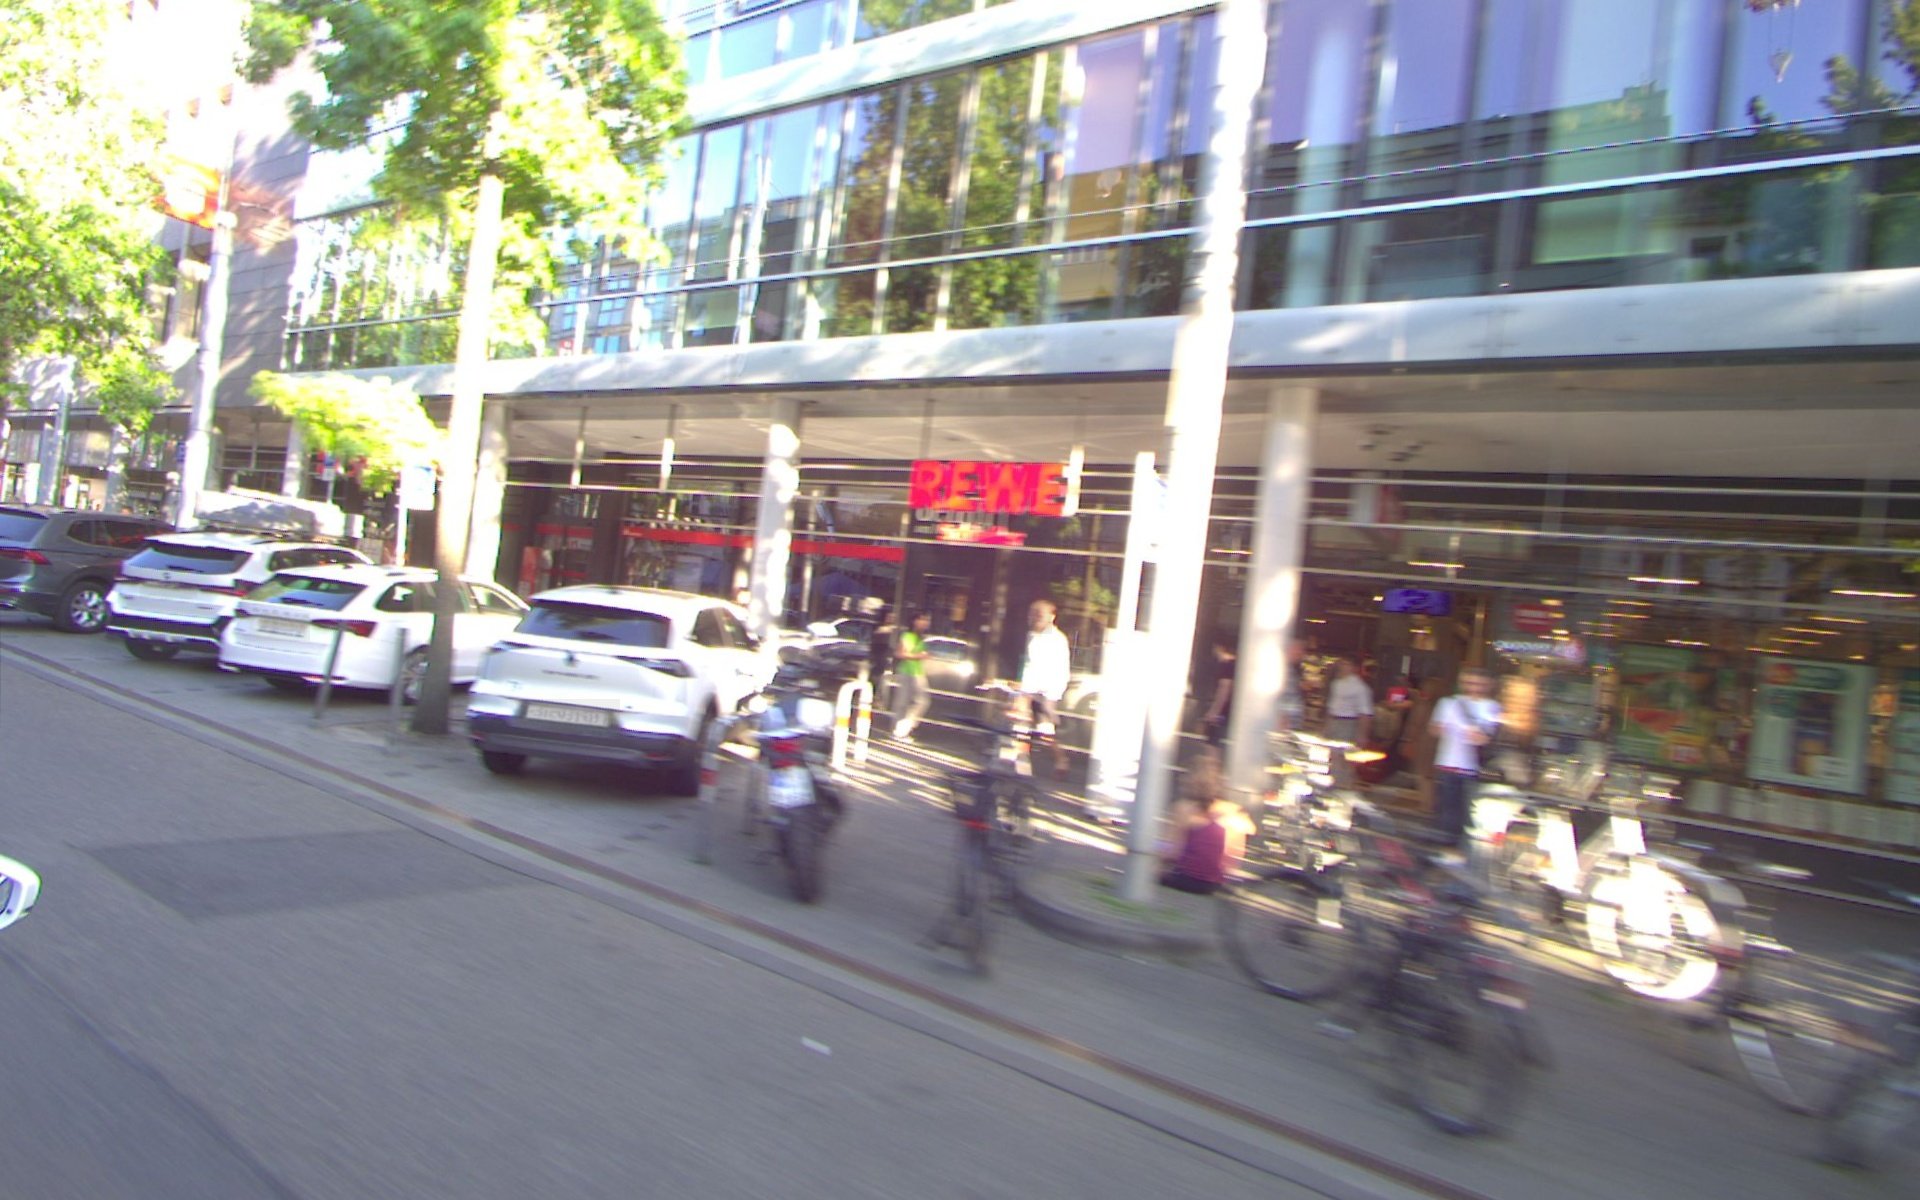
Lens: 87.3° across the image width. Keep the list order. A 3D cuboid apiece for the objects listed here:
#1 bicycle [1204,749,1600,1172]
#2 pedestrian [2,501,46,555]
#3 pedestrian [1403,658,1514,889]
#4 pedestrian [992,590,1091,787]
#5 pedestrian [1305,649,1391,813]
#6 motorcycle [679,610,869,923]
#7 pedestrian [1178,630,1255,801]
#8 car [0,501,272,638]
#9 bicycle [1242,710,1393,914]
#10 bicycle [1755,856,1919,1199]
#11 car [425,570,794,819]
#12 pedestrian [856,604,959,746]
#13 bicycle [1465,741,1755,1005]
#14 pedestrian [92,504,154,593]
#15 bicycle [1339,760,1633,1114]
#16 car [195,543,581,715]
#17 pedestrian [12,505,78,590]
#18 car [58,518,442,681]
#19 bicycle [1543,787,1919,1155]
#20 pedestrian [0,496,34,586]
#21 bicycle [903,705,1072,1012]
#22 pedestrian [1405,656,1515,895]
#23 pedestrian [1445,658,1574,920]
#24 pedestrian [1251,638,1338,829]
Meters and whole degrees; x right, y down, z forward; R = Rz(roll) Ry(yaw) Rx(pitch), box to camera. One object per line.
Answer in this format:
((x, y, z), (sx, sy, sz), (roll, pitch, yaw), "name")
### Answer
((1.765, 1.391, 4.354), (0.474, 1.178, 1.688), (5, 1, -17), "bicycle")
((-30.239, -2.329, 32.484), (0.910, 1.607, 0.697), (7, -1, 33), "pedestrian")
((4.007, 1.364, 8.079), (0.542, 1.716, 0.517), (7, -1, 37), "pedestrian")
((0.859, 0.911, 10.571), (0.653, 1.943, 0.583), (7, 1, 35), "pedestrian")
((4.456, 1.482, 11.605), (0.588, 1.765, 0.626), (7, 0, 5), "pedestrian")
((-1.171, 0.897, 6.384), (0.844, 1.529, 2.314), (5, 0, -11), "motorcycle")
((2.839, 1.246, 11.092), (0.588, 1.765, 0.626), (7, 0, 19), "pedestrian")
((-12.551, -0.439, 14.787), (1.663, 1.673, 4.356), (6, 0, 2), "car")
((2.651, 1.522, 7.657), (0.620, 1.120, 1.778), (6, 1, 7), "bicycle")
((3.630, 1.623, 3.201), (0.853, 1.102, 1.562), (7, 1, 3), "bicycle")
((-2.874, 0.686, 9.325), (1.820, 1.591, 4.158), (7, 0, 0), "car")
((-0.661, 0.936, 12.688), (0.868, 1.644, 0.714), (7, 0, 34), "pedestrian")
((3.951, 1.619, 6.264), (0.852, 1.188, 1.269), (7, 2, 2), "bicycle")
((-17.571, -1.073, 21.140), (0.678, 1.753, 0.630), (6, 1, -15), "pedestrian")
((2.463, 1.512, 4.962), (0.620, 1.120, 1.694), (6, 1, 7), "bicycle")
((-6.455, 0.321, 11.992), (1.656, 1.518, 4.161), (6, 0, 9), "car")
((-17.915, -1.020, 19.706), (0.598, 1.572, 0.687), (6, 1, -14), "pedestrian")
((-8.964, 0.008, 13.266), (1.849, 1.607, 4.249), (6, 0, 2), "car")
((3.715, 1.656, 4.880), (0.719, 1.089, 1.674), (7, 1, 3), "bicycle")
((-18.746, -1.179, 19.648), (0.672, 1.707, 0.692), (6, 1, -24), "pedestrian")
((0.185, 1.254, 5.449), (0.655, 1.134, 1.897), (5, 0, 4), "bicycle")
((4.001, 1.366, 8.048), (0.550, 1.773, 0.523), (7, 1, 35), "pedestrian")
((3.934, 1.316, 7.253), (0.540, 1.716, 0.681), (7, -1, 20), "pedestrian")
((3.305, 1.292, 9.927), (0.516, 1.773, 0.557), (7, 1, 33), "pedestrian")
